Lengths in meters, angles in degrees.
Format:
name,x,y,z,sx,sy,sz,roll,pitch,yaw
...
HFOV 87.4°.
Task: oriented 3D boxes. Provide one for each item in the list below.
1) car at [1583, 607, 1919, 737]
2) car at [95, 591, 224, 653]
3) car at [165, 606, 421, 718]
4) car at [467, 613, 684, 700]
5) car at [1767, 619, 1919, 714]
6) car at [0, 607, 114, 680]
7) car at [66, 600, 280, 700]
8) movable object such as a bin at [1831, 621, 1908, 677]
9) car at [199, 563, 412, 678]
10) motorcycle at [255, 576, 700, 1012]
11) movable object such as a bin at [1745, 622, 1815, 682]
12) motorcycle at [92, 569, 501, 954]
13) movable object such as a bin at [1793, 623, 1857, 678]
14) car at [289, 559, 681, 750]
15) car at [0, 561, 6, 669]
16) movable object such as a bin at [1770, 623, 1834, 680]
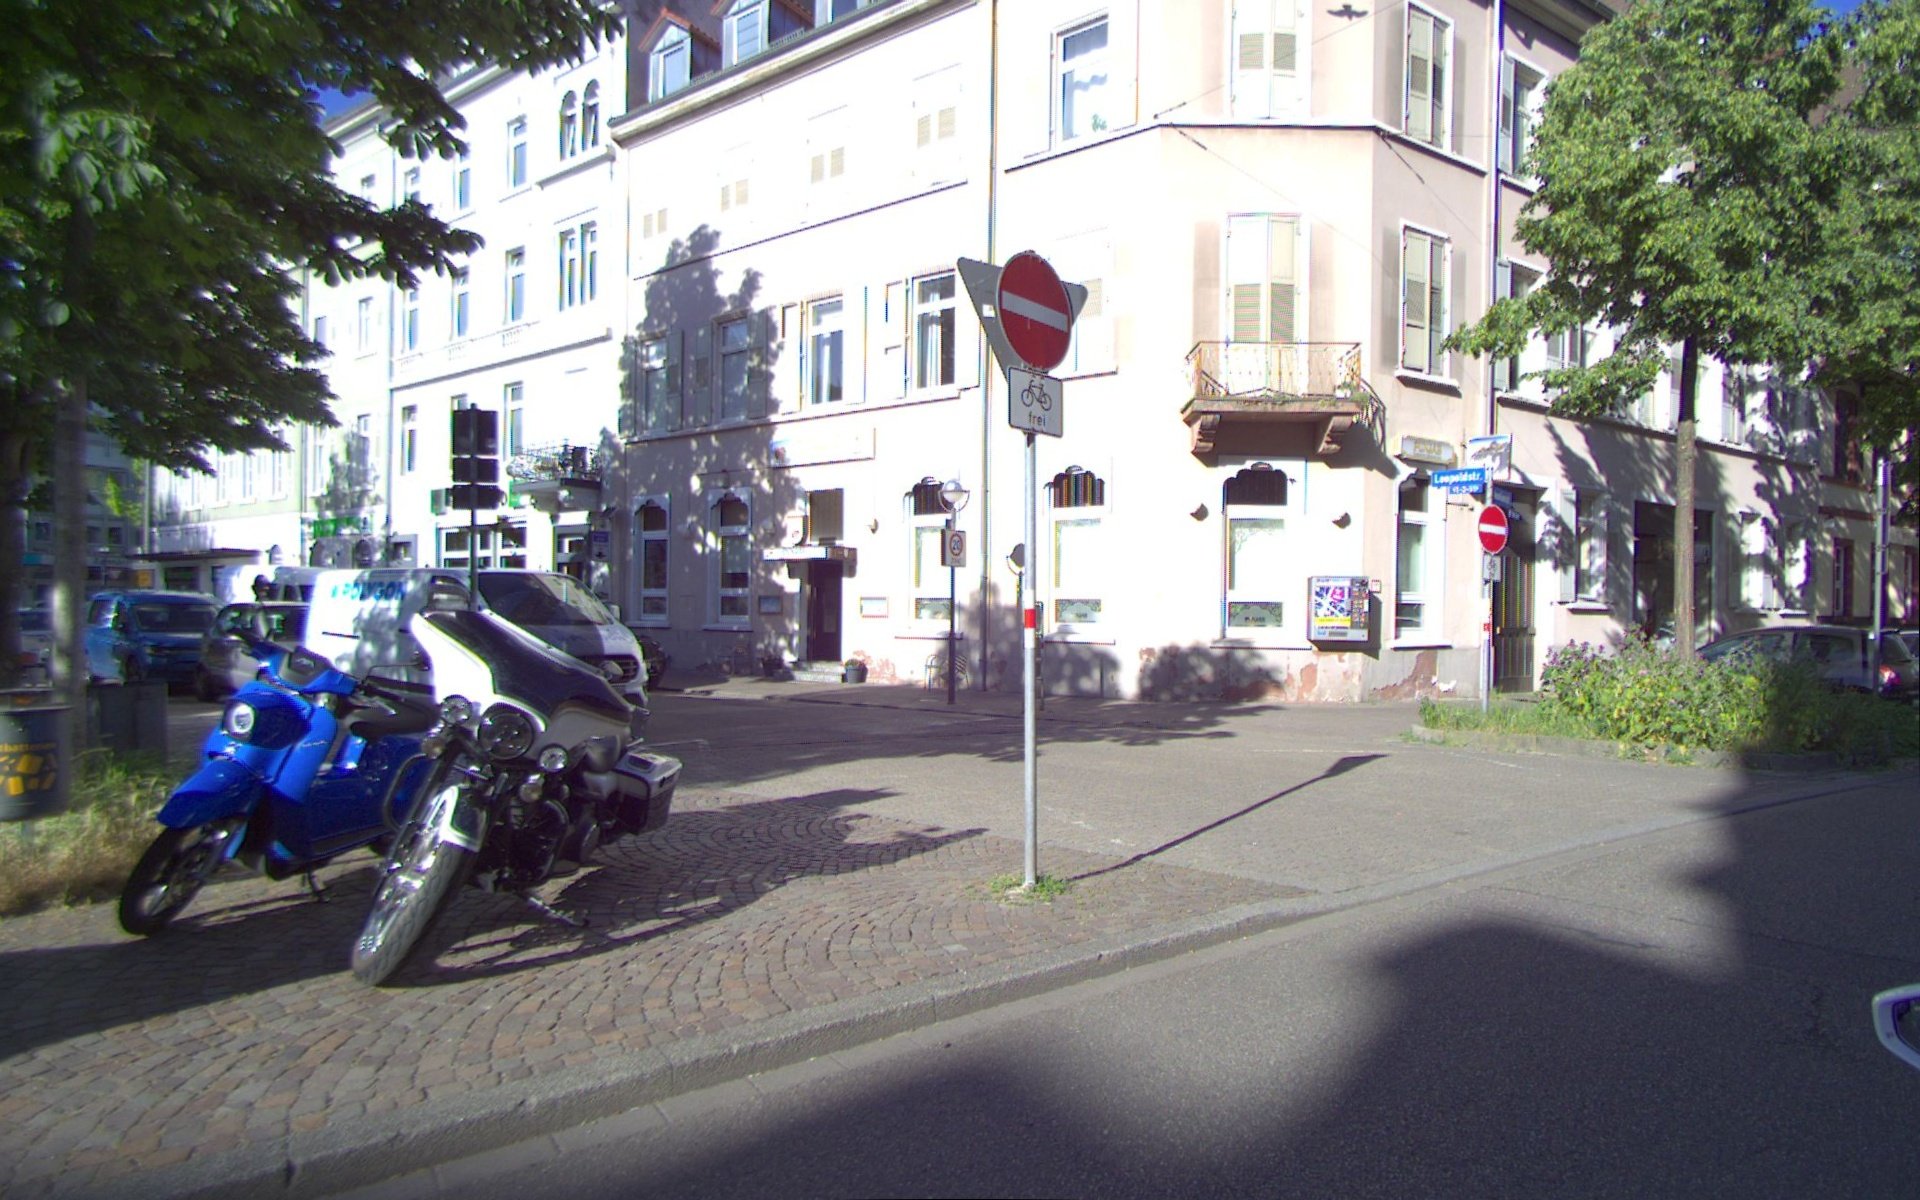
name,x,y,z,sx,sy,sz,roll,pitch,yaw
car,12.183,0.986,15.486,1.921,1.662,3.970,1,0,-29
car,-25.382,0.689,31.804,4.511,1.812,1.923,-1,-1,34
car,-10.467,0.886,15.693,4.081,1.537,1.923,-1,-1,34
car,-7.600,1.031,19.739,4.311,1.537,1.922,-1,-1,35
car,17.174,1.173,17.621,1.921,1.565,4.320,1,0,-29
car,-21.381,0.951,23.069,4.081,1.537,1.923,-1,-1,34
car,-14.443,0.861,18.393,4.081,1.634,1.923,-1,-1,34
movable object such as a bin,24.626,1.311,27.209,1.364,1.464,1.129,1,0,-28
car,-17.569,0.541,26.826,6.900,2.737,2.208,-1,-1,33
motorcycle,-1.904,0.657,4.515,0.981,1.442,2.321,1,0,-4
movable object such as a bin,20.067,1.262,24.571,1.245,1.385,0.905,1,0,-28
motorcycle,-2.899,0.617,4.668,0.813,1.442,1.753,1,0,-5
movable object such as a bin,22.288,1.291,25.877,1.328,1.380,0.814,1,0,-28
car,-6.097,0.603,12.661,5.238,1.970,2.069,-1,-1,33
car,-30.694,0.441,29.856,5.797,3.126,2.113,-1,-1,33
movable object such as a bin,21.150,1.279,25.229,1.233,1.373,0.826,1,0,-28
